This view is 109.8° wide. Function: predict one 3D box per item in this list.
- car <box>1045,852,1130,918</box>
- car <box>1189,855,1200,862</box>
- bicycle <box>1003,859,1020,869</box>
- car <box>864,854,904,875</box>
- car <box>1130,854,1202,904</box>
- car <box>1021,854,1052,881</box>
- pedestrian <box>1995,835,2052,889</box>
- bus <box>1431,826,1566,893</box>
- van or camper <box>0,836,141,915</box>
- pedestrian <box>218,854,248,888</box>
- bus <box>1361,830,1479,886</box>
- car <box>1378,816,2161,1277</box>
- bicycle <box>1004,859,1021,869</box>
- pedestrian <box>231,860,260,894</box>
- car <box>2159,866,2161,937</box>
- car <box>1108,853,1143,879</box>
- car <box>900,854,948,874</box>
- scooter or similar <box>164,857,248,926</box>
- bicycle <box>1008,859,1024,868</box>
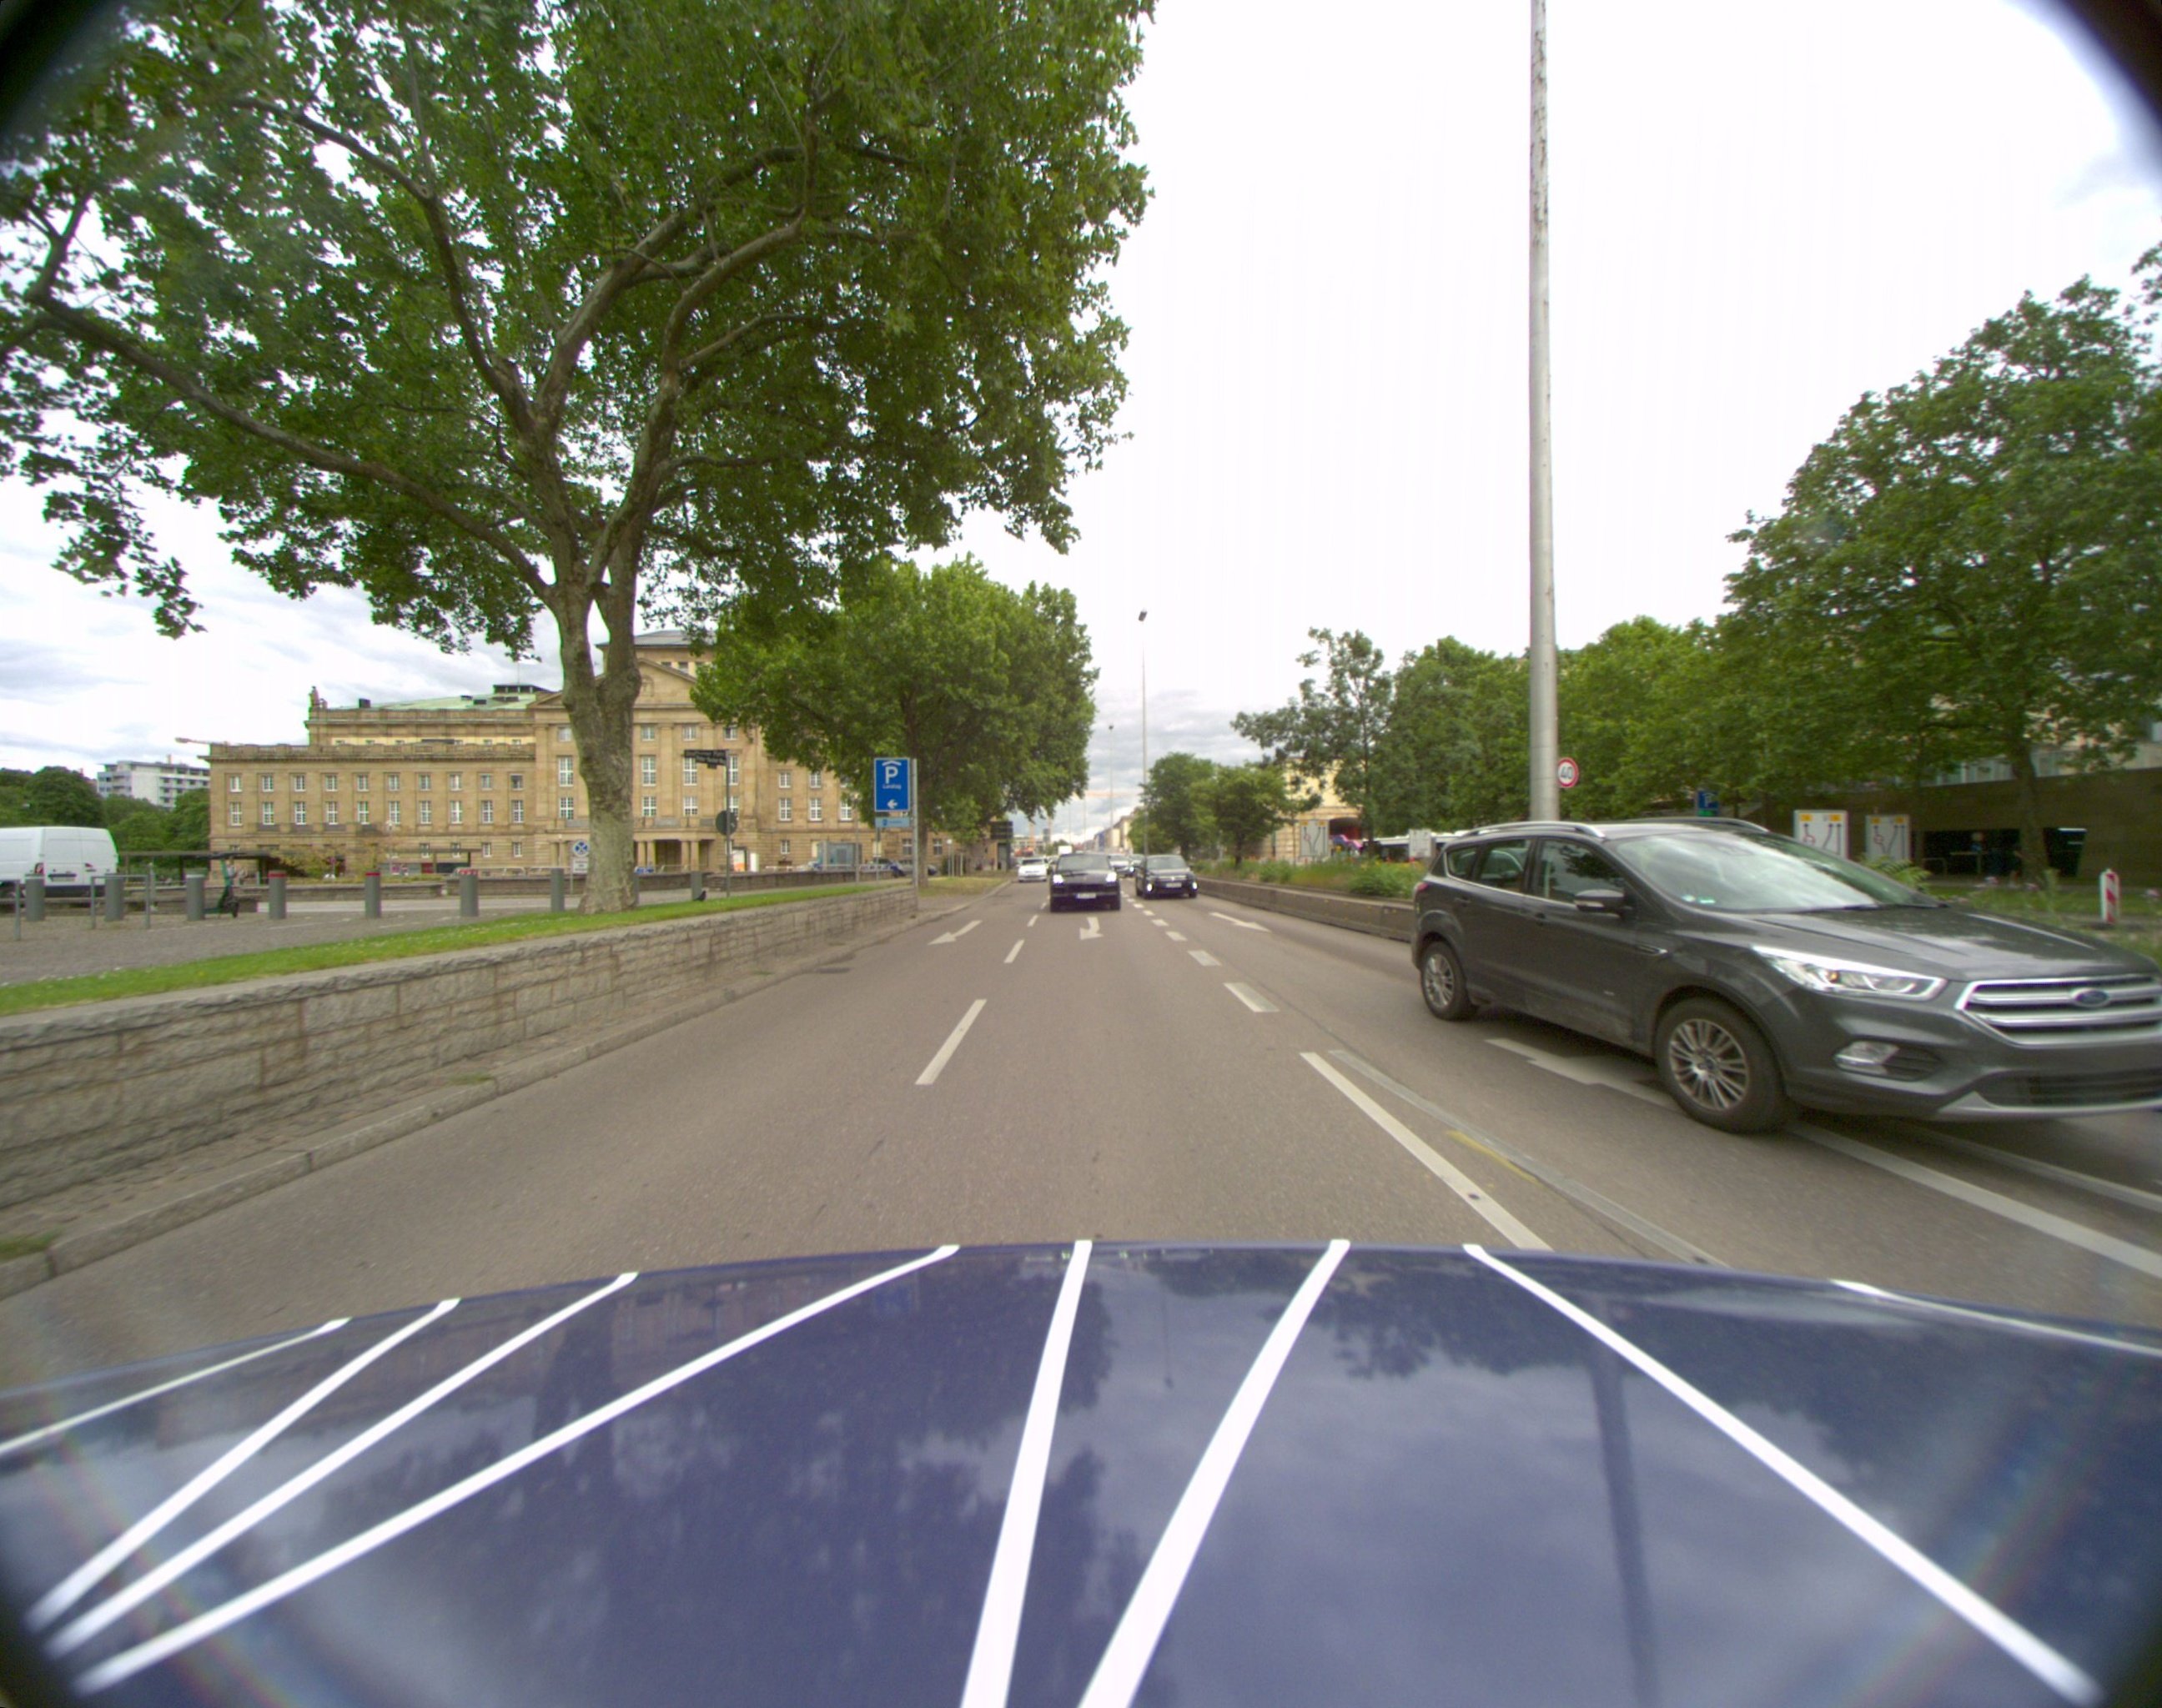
[{"bbox_3d":[0.074,0.815,22.629,2.062,1.616,4.599,-4,1,-4],"label":"car"},{"bbox_3d":[22.132,0.871,147.770,1.356,1.281,3.736,-3,1,-2],"label":"car"},{"bbox_3d":[-8.084,1.114,87.948,1.919,1.092,0.541,-1,0,-9],"label":"bicycle"},{"bbox_3d":[-14.510,0.793,56.251,1.768,1.508,4.218,-1,-1,1],"label":"car"},{"bbox_3d":[2.938,0.825,27.106,1.768,1.507,4.150,-2,1,-5],"label":"car"},{"bbox_3d":[-2.875,0.837,49.813,1.696,1.585,3.999,-3,1,1],"label":"car"},{"bbox_3d":[33.245,0.272,26.815,0.723,1.844,0.987,1,1,-2],"label":"pedestrian"},{"bbox_3d":[22.510,0.238,41.578,2.931,3.284,7.704,-1,0,-2],"label":"bus"},{"bbox_3d":[-33.892,0.698,23.808,5.712,2.307,2.319,-2,2,-1],"label":"van or camper"},{"bbox_3d":[-53.026,1.061,47.500,0.857,2.002,0.816,-3,2,12],"label":"pedestrian"},{"bbox_3d":[22.213,0.215,50.673,2.920,3.285,10.447,-1,0,-2],"label":"bus"},{"bbox_3d":[4.036,0.722,5.237,1.899,1.705,4.657,-2,0,-3],"label":"car"},{"bbox_3d":[-7.985,1.135,88.627,1.841,1.066,0.618,-1,0,-9],"label":"bicycle"},{"bbox_3d":[-51.995,1.424,47.301,0.766,2.002,0.816,-3,2,14],"label":"pedestrian"},{"bbox_3d":[21.566,0.892,12.601,1.730,1.364,4.000,0,0,0],"label":"car"},{"bbox_3d":[2.965,0.758,51.669,1.999,1.607,4.737,-1,1,-1],"label":"car"},{"bbox_3d":[-14.155,0.906,68.649,3.998,1.587,1.734,-3,1,-2],"label":"car"},{"bbox_3d":[-16.388,0.690,14.247,0.718,1.239,0.728,1,1,-2],"label":"scooter or similar"},{"bbox_3d":[-7.688,1.109,89.562,1.841,1.066,0.531,-1,0,-10],"label":"bicycle"}]
